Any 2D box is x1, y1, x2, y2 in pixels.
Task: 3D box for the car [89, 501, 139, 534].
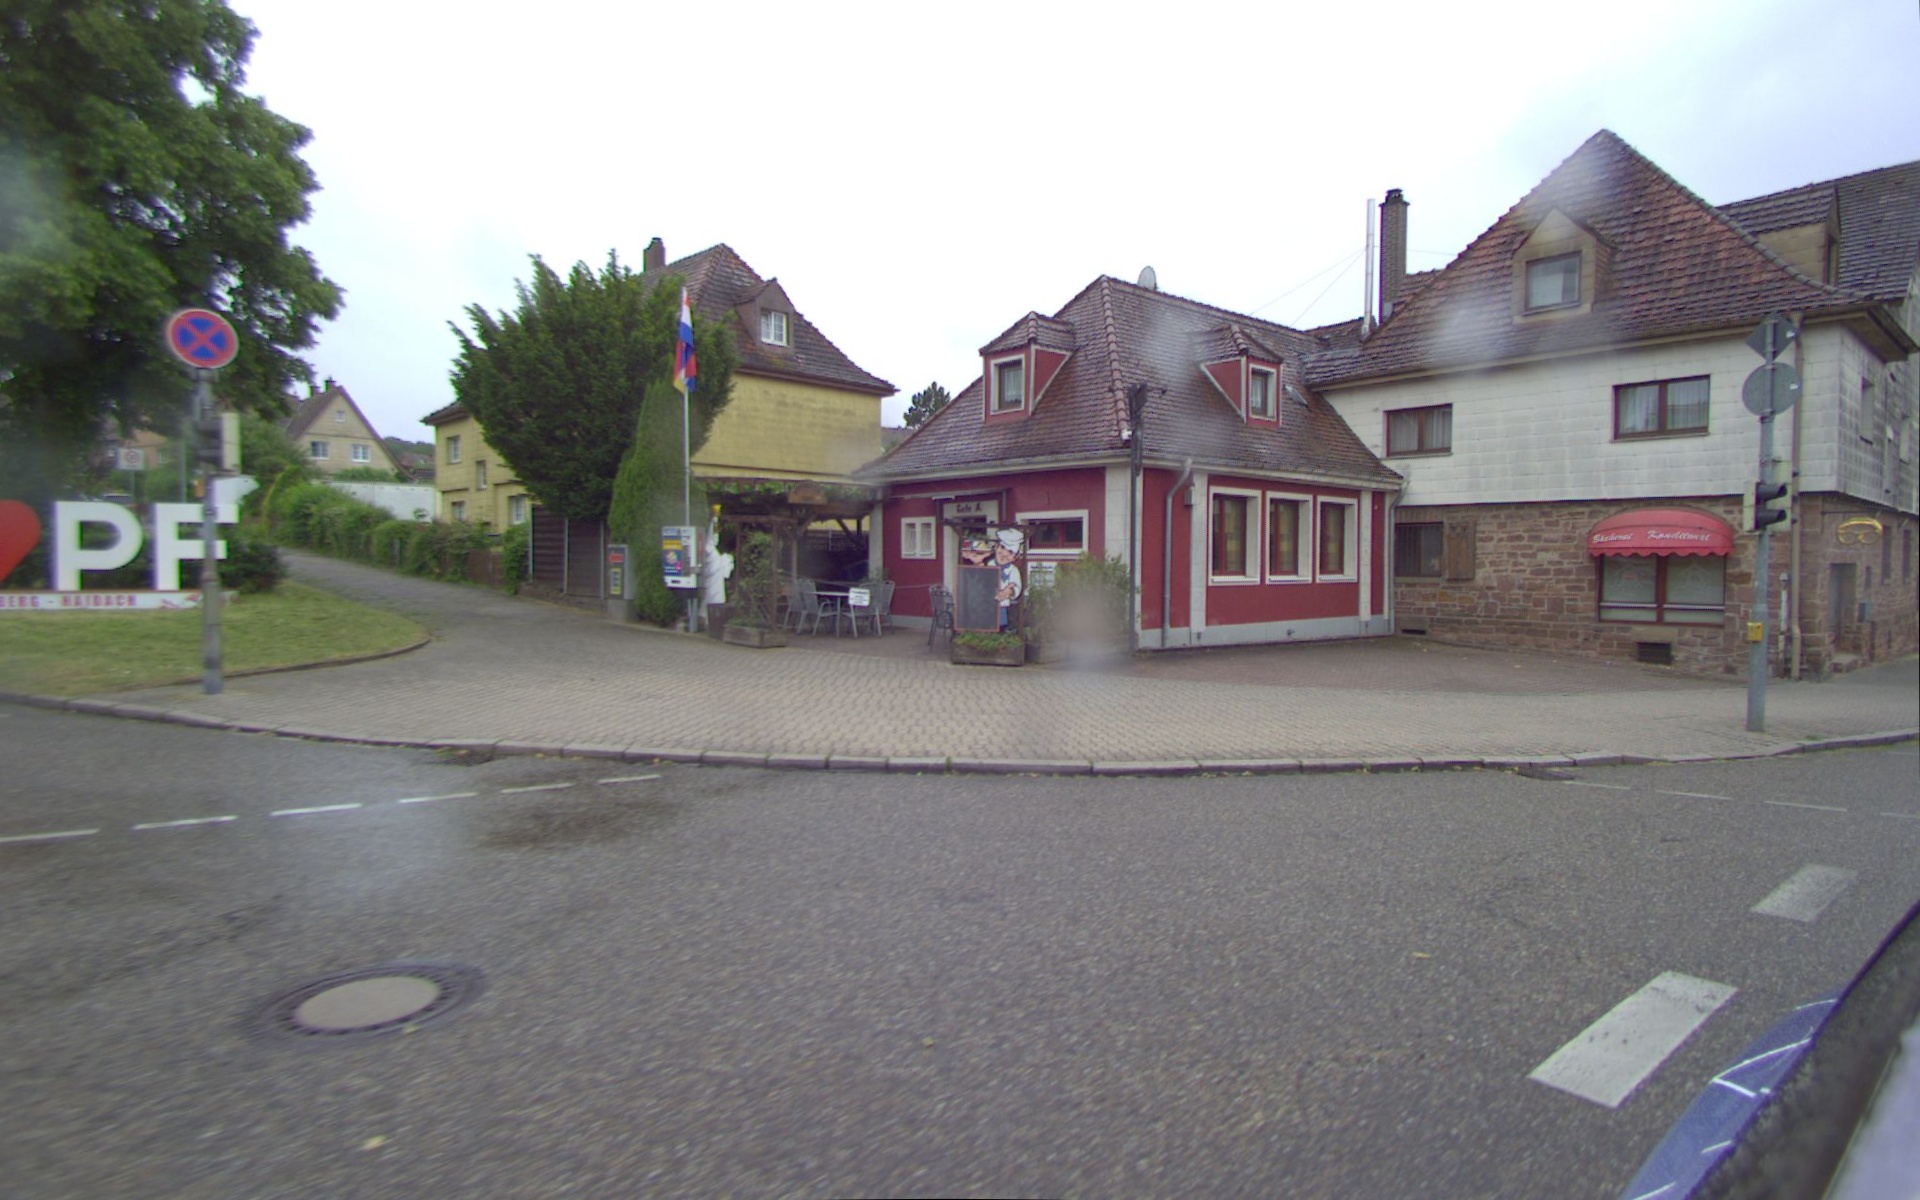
[{"bbox_3d":[-45.824,-4.432,54.790,1.813,1.618,3.802,2,2,-44],"label":"car"}]
